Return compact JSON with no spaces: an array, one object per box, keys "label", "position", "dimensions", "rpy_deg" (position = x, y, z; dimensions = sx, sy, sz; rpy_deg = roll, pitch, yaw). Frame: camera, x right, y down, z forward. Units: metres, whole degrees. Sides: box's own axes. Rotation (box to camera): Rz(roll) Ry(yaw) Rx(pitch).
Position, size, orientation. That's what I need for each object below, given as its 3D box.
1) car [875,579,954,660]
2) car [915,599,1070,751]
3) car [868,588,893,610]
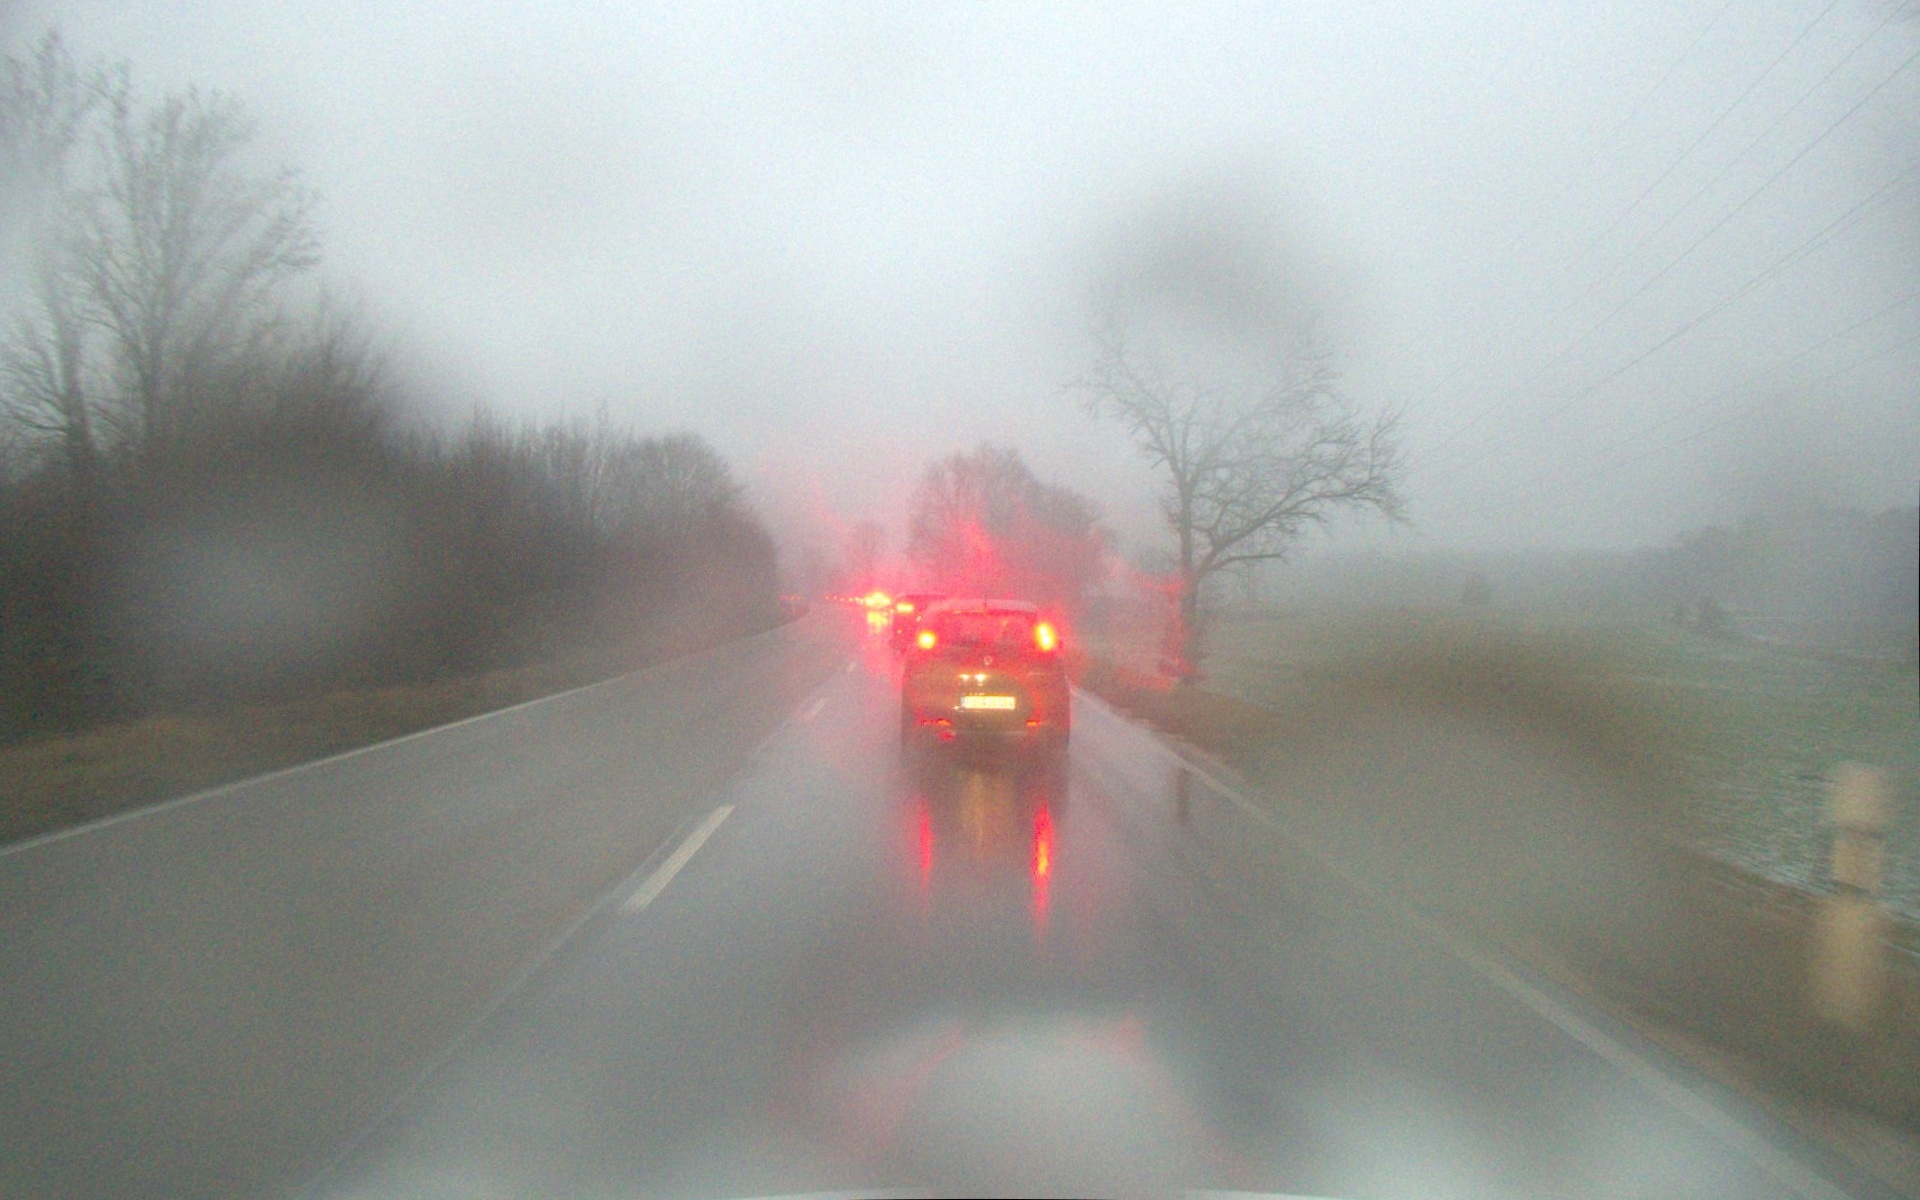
[{"label":"car","position":[-1.158,0.487,44.136],"dimensions":[1.814,2.049,4.001],"rpy_deg":[1,0,2]},{"label":"car","position":[0.377,0.712,17.415],"dimensions":[1.469,1.423,3.200],"rpy_deg":[1,0,2]},{"label":"car","position":[-6.689,-0.102,139.895],"dimensions":[1.825,1.729,4.468],"rpy_deg":[1,1,0]}]
